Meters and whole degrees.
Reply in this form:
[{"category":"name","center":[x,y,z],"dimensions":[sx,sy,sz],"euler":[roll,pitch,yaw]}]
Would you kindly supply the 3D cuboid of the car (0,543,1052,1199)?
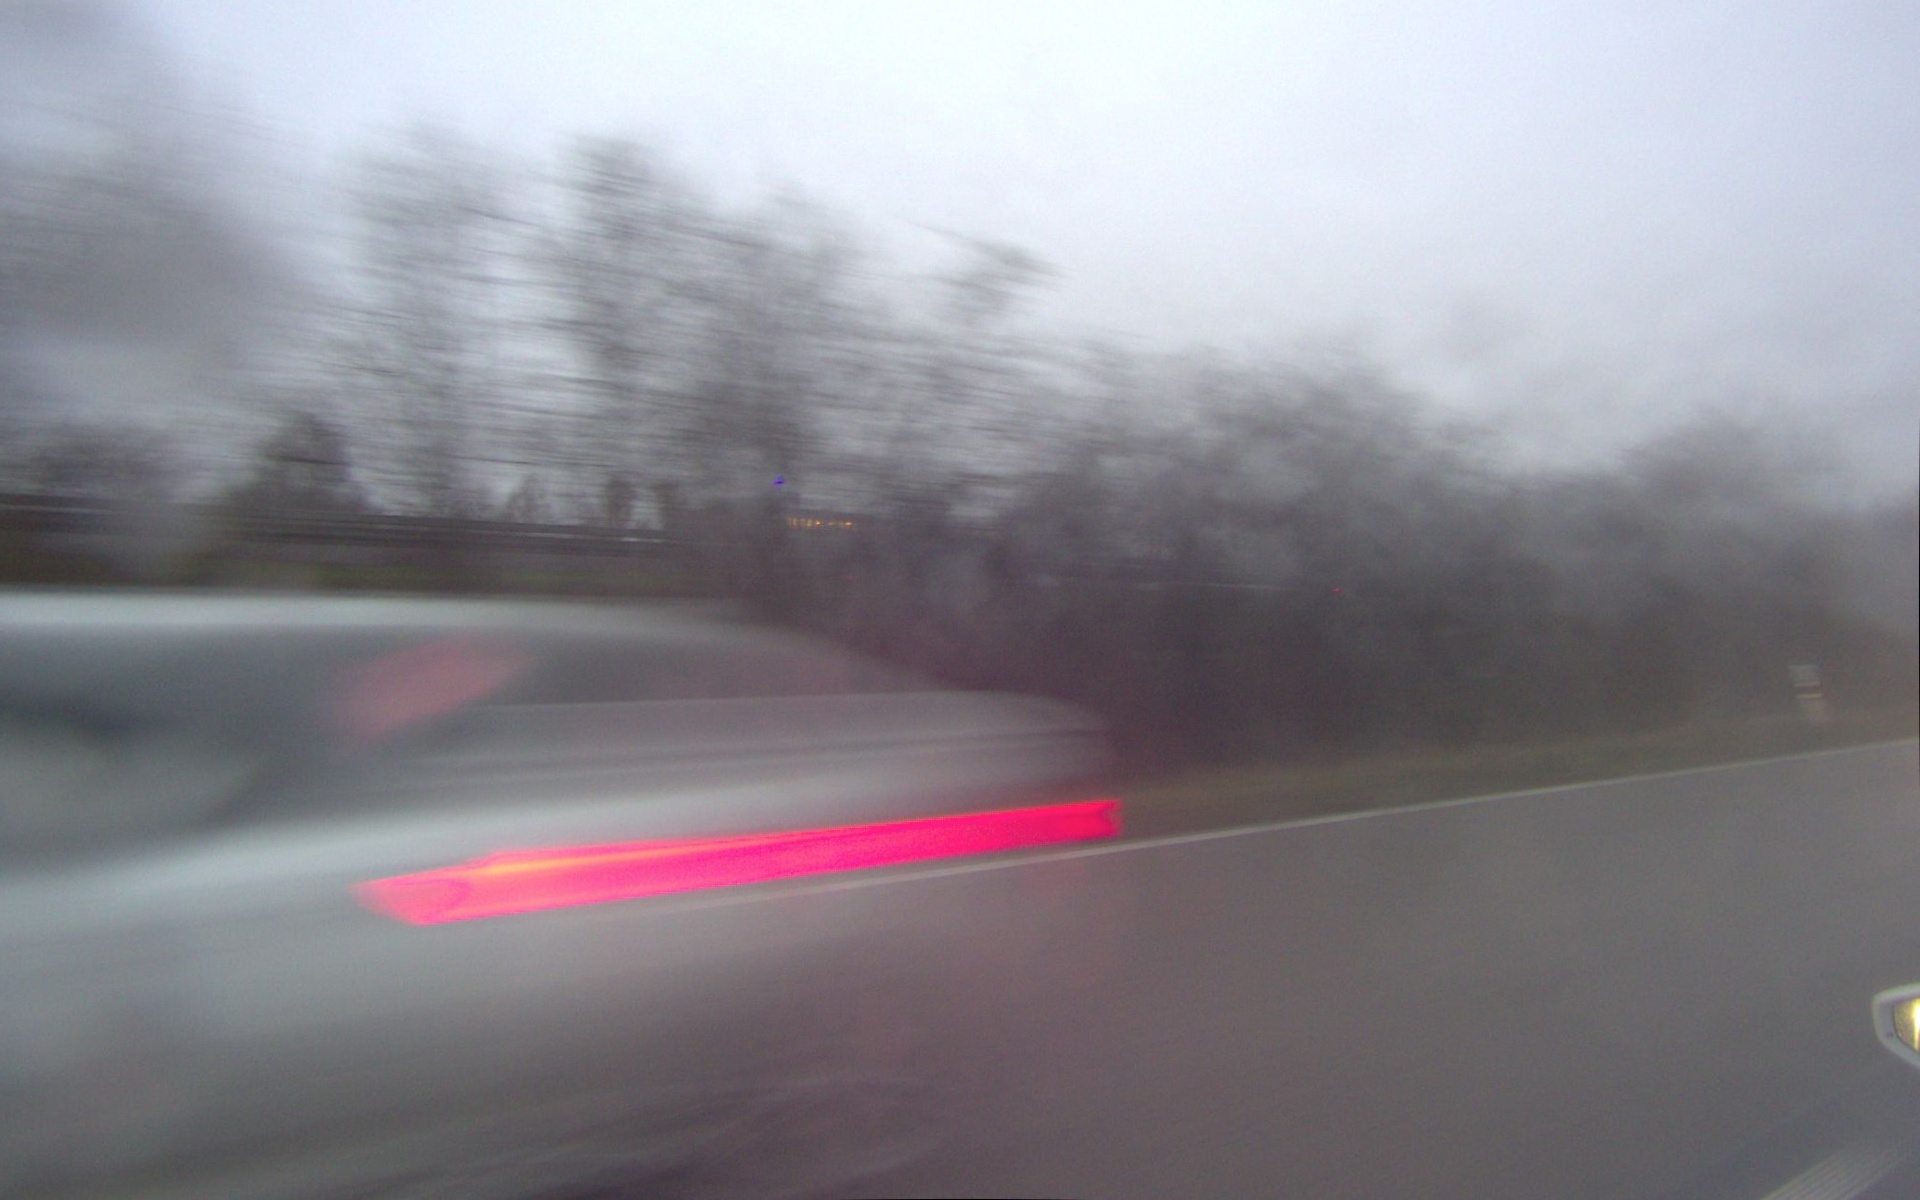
[{"category":"car","center":[-2.052,0.663,2.352],"dimensions":[4.361,1.527,1.680],"euler":[1,0,-30]}]
